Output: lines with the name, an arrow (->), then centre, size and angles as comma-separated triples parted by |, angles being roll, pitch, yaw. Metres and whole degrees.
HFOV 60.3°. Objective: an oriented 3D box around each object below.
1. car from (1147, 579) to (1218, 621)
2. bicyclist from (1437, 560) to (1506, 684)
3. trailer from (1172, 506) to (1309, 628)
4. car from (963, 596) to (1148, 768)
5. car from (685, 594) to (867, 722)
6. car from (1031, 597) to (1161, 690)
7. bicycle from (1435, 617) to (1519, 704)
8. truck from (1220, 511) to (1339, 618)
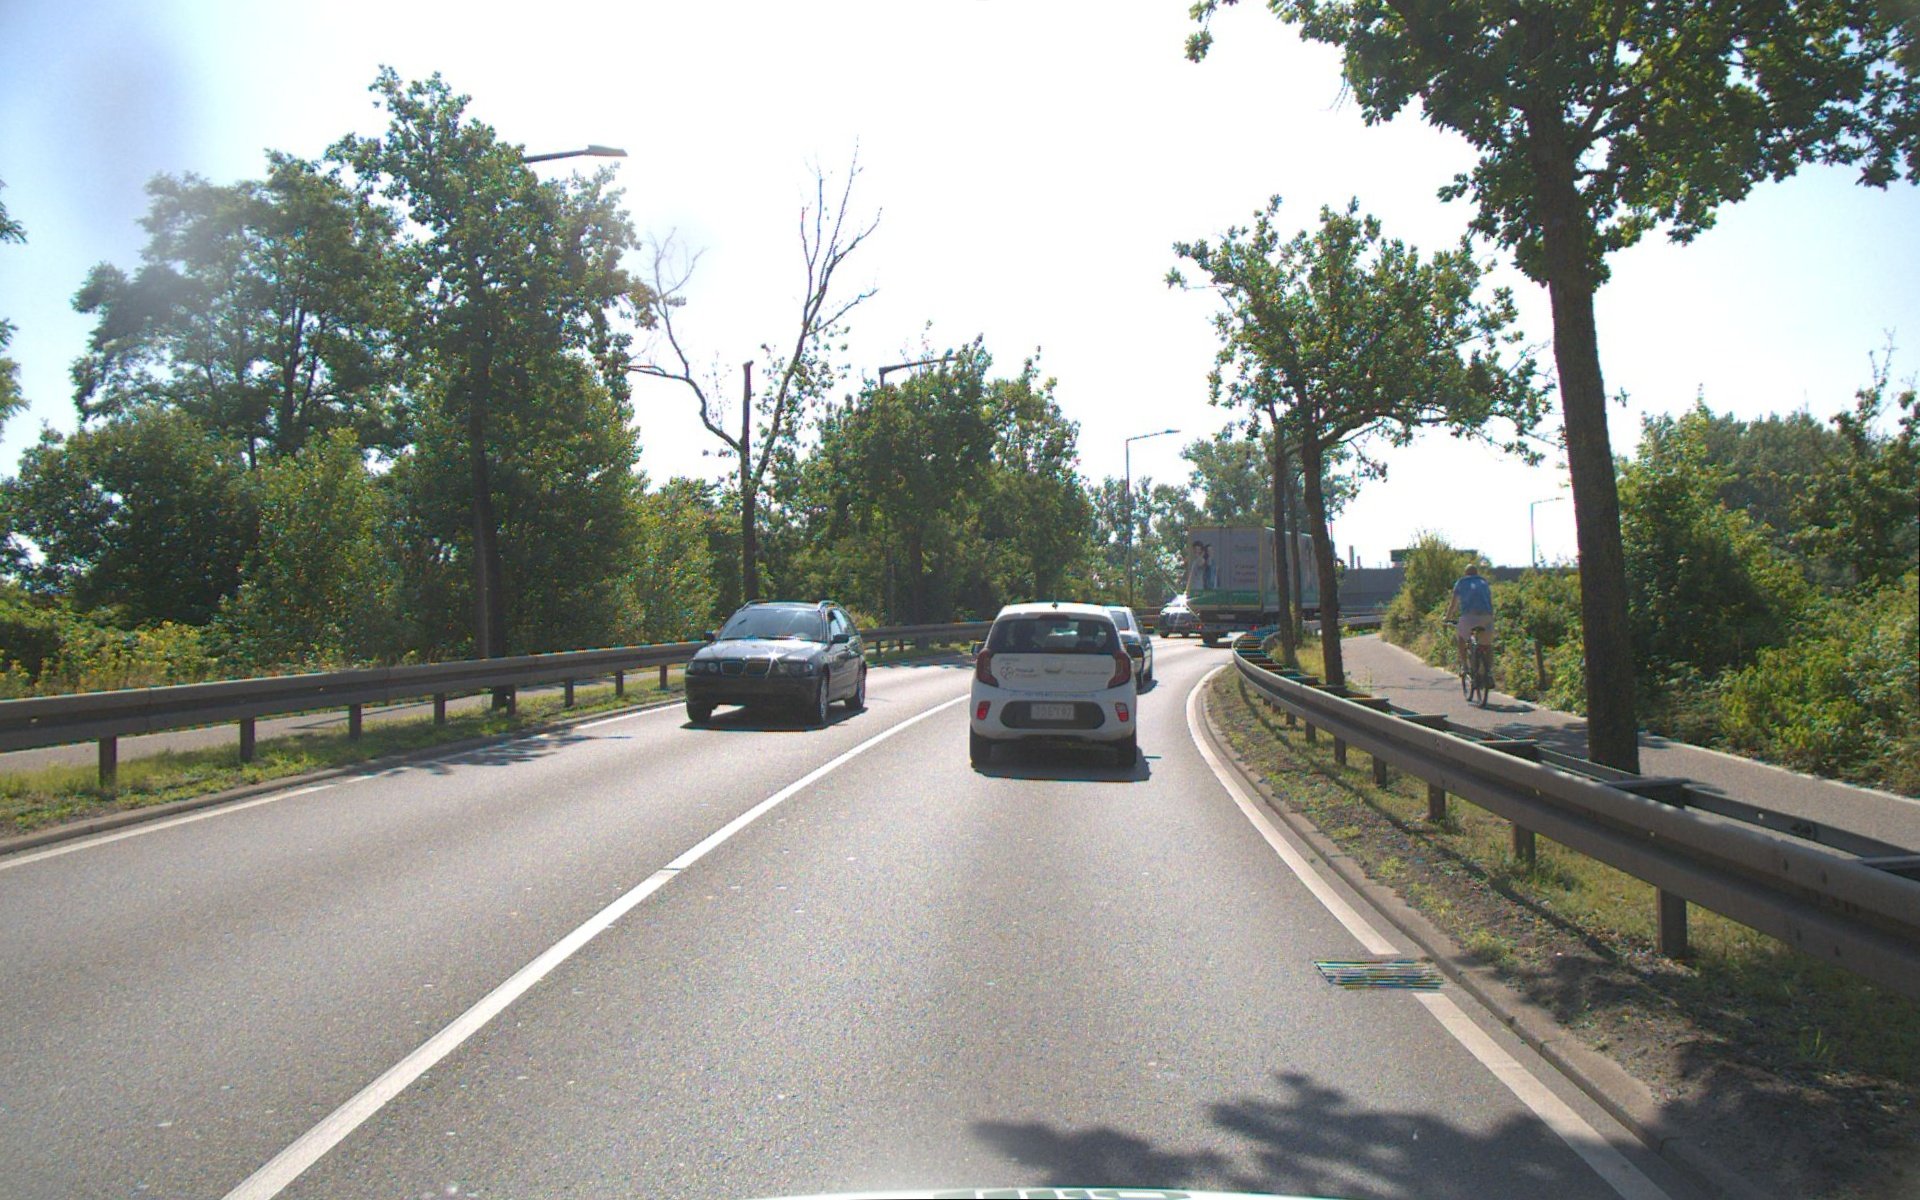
car -> 8.479, -0.012, 62.746 | 1.890, 1.560, 4.119 | 0, 0, 20
bicyclist -> 6.713, 0.291, 21.733 | 0.644, 1.546, 0.803 | -4, -2, 8
trailer -> 9.619, -1.172, 55.953 | 3.157, 3.823, 7.827 | 1, 2, 20
car -> 1.068, 0.730, 16.964 | 1.665, 1.520, 4.003 | 1, 0, 6
car -> -2.269, 0.686, 21.386 | 1.666, 1.474, 4.122 | 1, 0, 3
car -> 2.564, 0.721, 30.015 | 1.897, 1.512, 4.904 | 0, 0, 10
bicycle -> 6.745, 0.773, 21.652 | 0.687, 1.037, 1.847 | -4, -2, 8
truck -> 12.367, -1.426, 63.397 | 3.193, 3.823, 8.374 | 1, 2, 20
